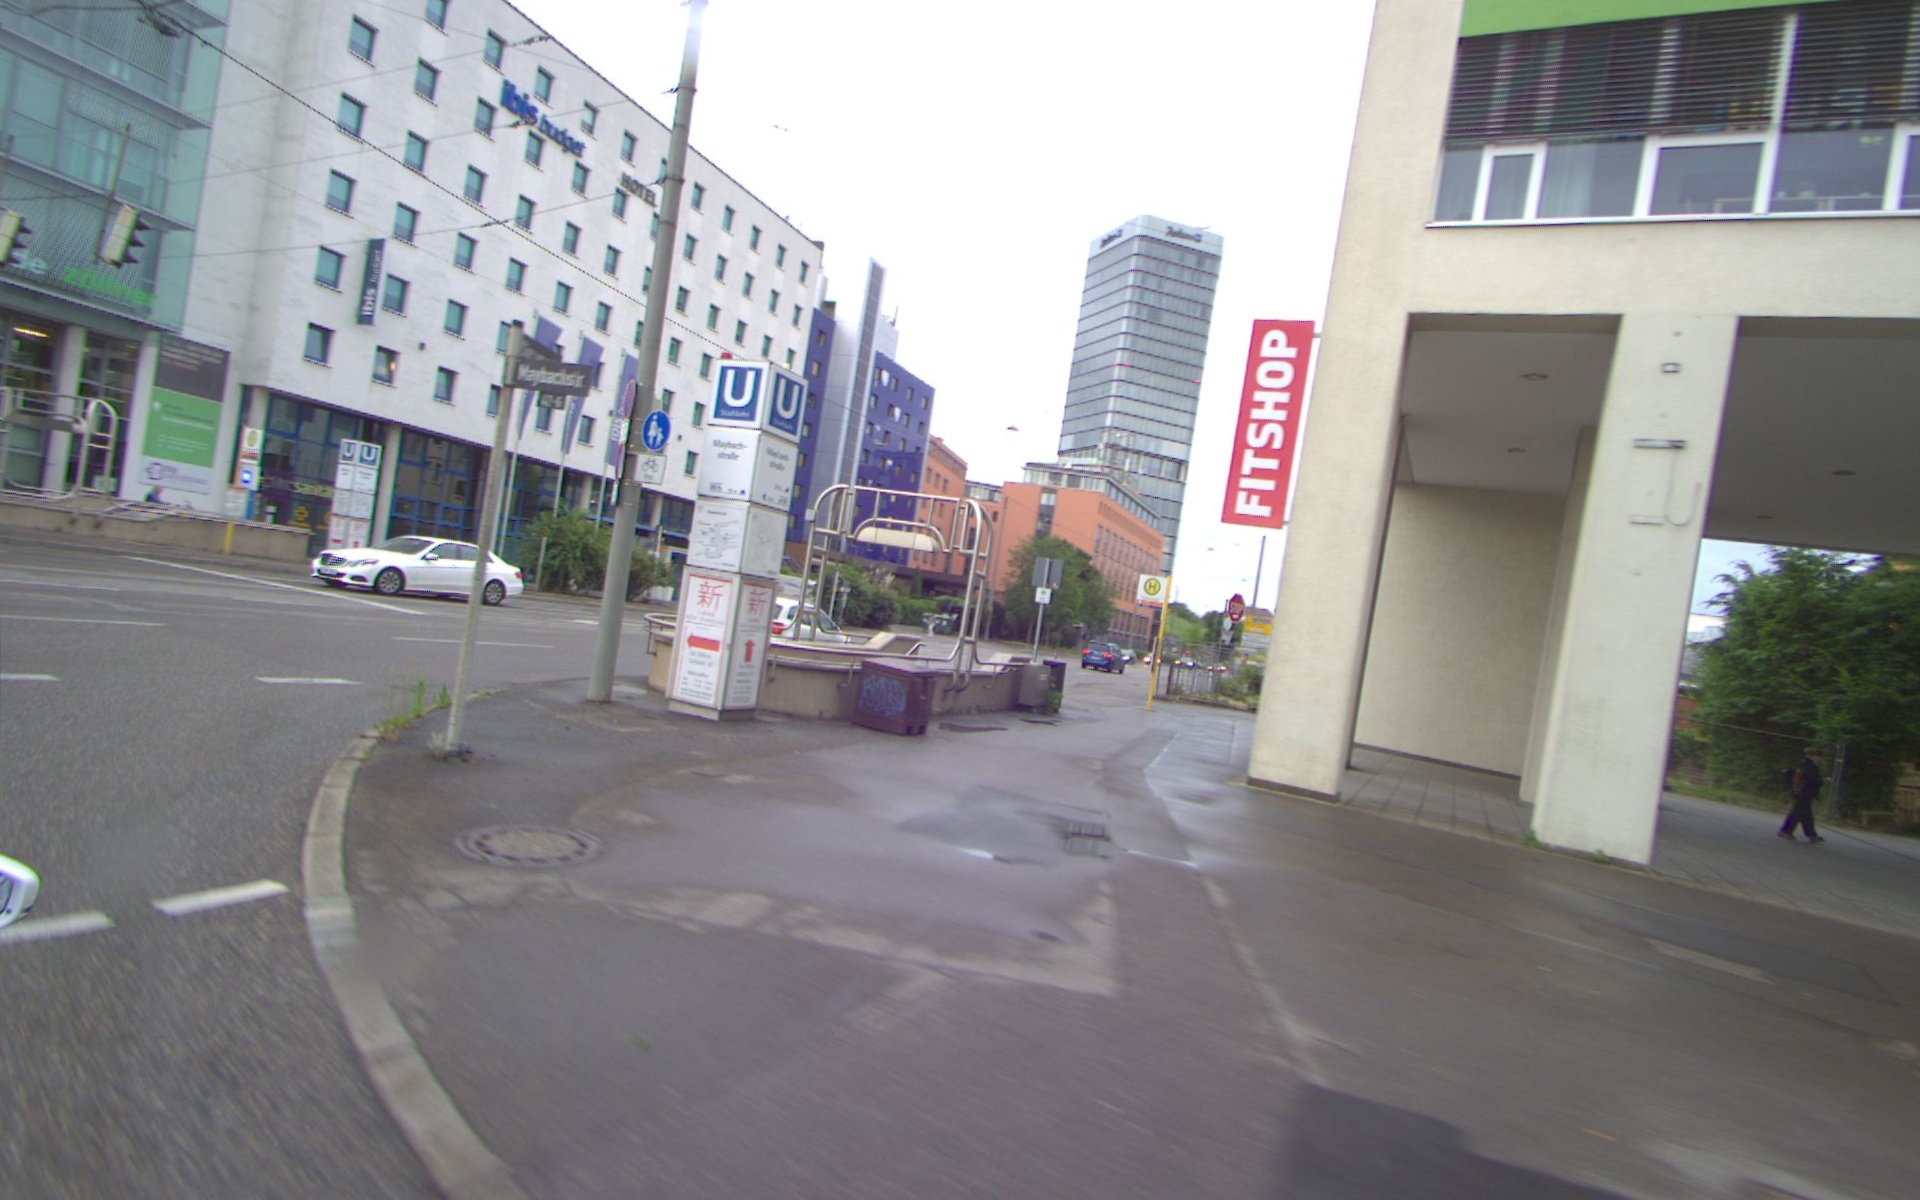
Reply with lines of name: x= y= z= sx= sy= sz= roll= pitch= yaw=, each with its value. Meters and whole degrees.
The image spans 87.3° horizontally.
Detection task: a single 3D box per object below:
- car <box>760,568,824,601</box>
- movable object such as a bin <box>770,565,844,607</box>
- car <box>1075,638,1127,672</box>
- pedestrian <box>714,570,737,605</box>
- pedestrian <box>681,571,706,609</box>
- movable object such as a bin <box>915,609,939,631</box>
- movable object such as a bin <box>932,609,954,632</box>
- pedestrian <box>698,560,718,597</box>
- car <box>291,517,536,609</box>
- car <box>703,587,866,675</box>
car: x=-13.799 y=-1.250 z=82.637 sx=4.642 sy=2.035 sz=1.895 roll=7 pitch=-3 yaw=23
movable object such as a bin: x=-12.843 y=-1.171 z=84.512 sx=5.541 sy=2.657 sz=2.164 roll=7 pitch=-3 yaw=23
car: x=8.176 y=3.189 z=57.926 sx=1.963 sy=1.592 sz=4.002 roll=9 pitch=-1 yaw=20
pedestrian: x=-14.422 y=-0.762 z=61.888 sx=0.894 sy=2.036 sz=0.807 roll=9 pitch=-3 yaw=-38
pedestrian: x=-15.690 y=-0.588 z=59.218 sx=0.790 sy=2.036 sz=0.816 roll=7 pitch=-2 yaw=24
movable object such as a bin: x=-2.559 y=1.523 z=77.499 sx=1.372 sy=1.507 sz=0.950 roll=6 pitch=-3 yaw=34
movable object such as a bin: x=-1.293 y=1.576 z=76.566 sx=1.368 sy=1.507 sz=0.953 roll=7 pitch=-2 yaw=13
pedestrian: x=-15.215 y=-1.283 z=60.728 sx=0.801 sy=2.036 sz=0.805 roll=8 pitch=-2 yaw=-5
car: x=-12.628 y=-0.790 z=23.684 sx=1.790 sy=1.403 sz=4.965 roll=9 pitch=-1 yaw=22
car: x=-3.691 y=0.743 z=21.858 sx=1.645 sy=1.491 sz=3.781 roll=10 pitch=-1 yaw=20
